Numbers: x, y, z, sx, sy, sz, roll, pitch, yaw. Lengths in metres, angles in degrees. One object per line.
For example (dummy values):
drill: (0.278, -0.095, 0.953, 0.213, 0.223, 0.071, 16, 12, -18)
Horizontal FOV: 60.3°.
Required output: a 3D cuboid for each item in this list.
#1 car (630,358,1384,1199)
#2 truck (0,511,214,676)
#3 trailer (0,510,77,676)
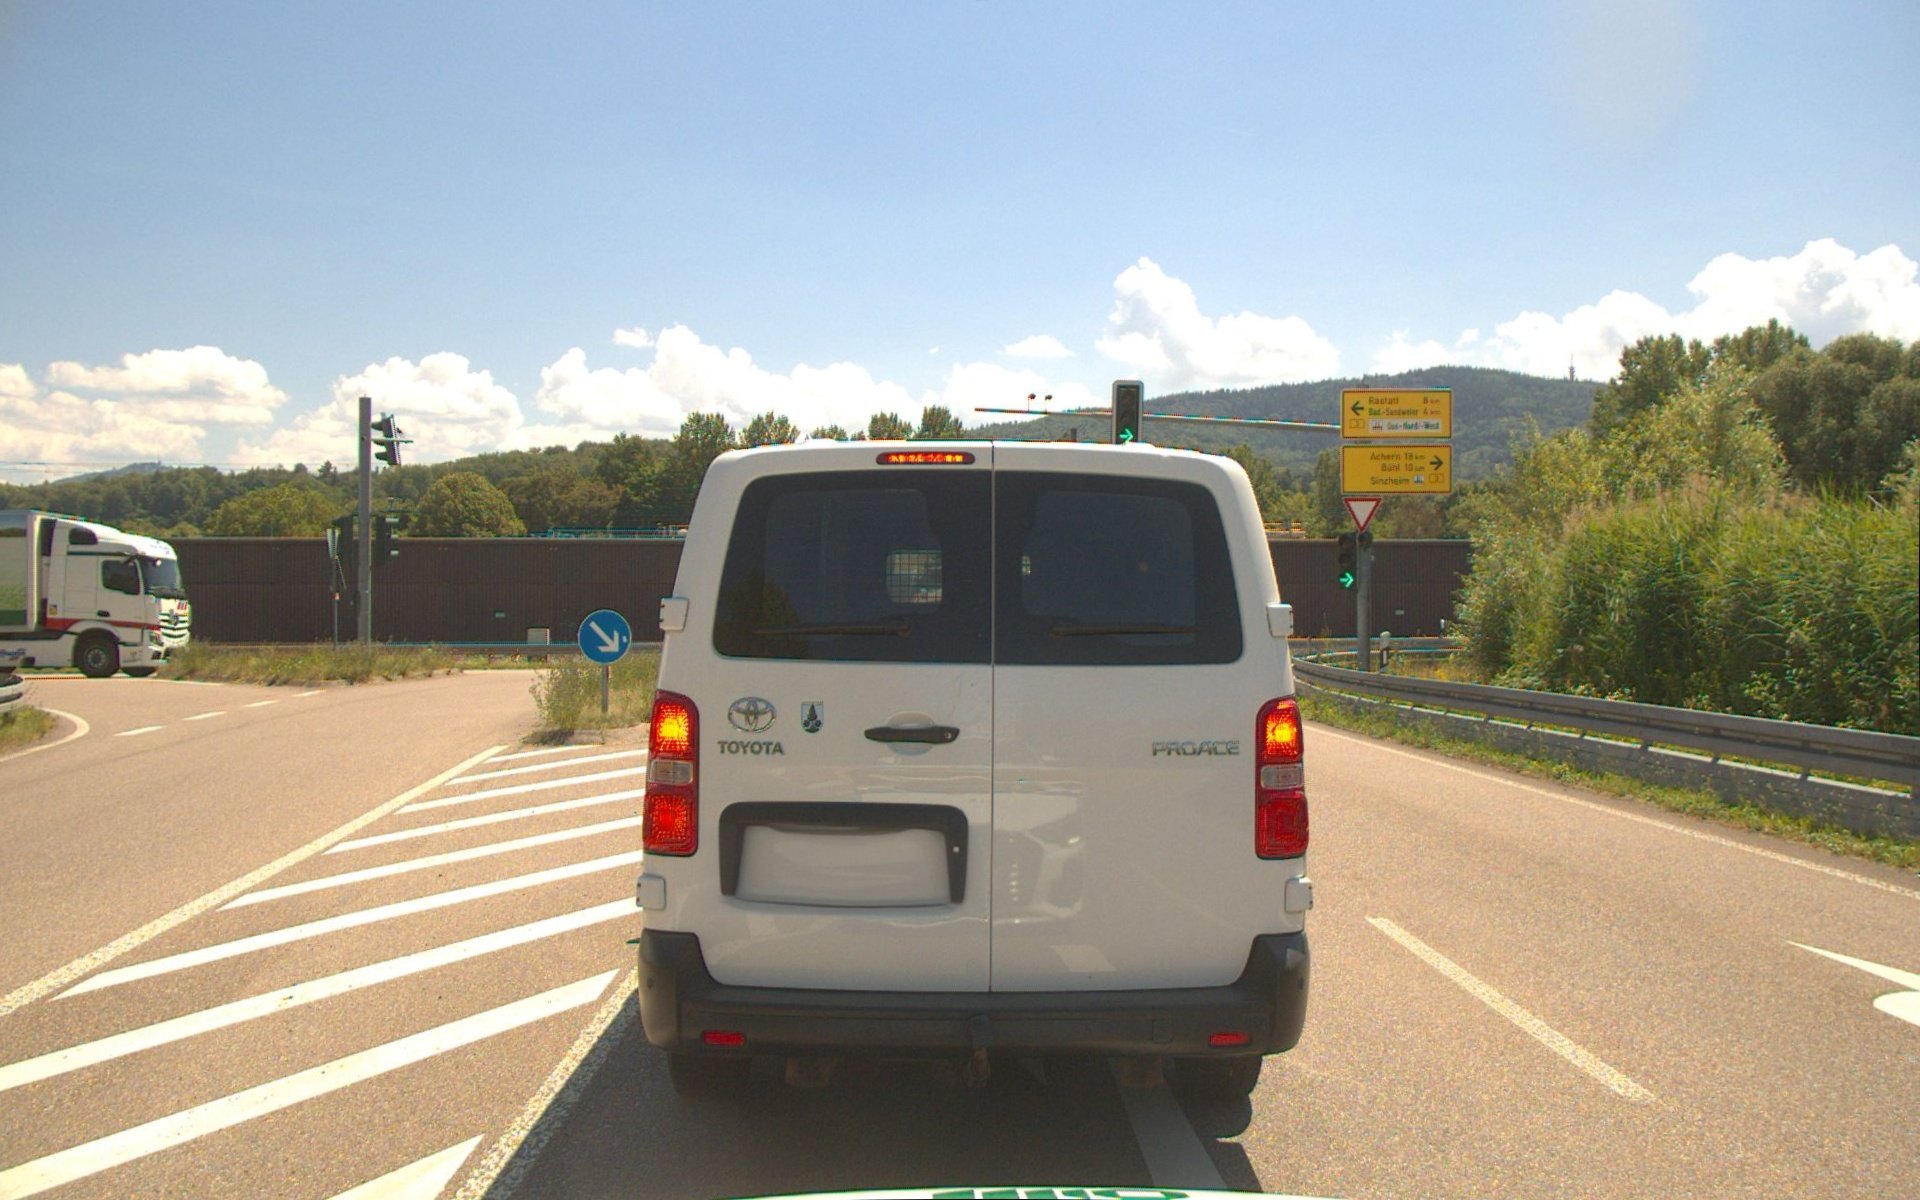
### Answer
car: (0.087, 0.470, 5.914, 1.778, 2.053, 3.999, 0, 0, -1)
truck: (-22.379, -0.148, 41.775, 5.649, 4.024, 3.061, 0, -1, -3)
trailer: (-29.507, -0.186, 41.438, 12.877, 4.024, 3.060, 0, -1, -3)
